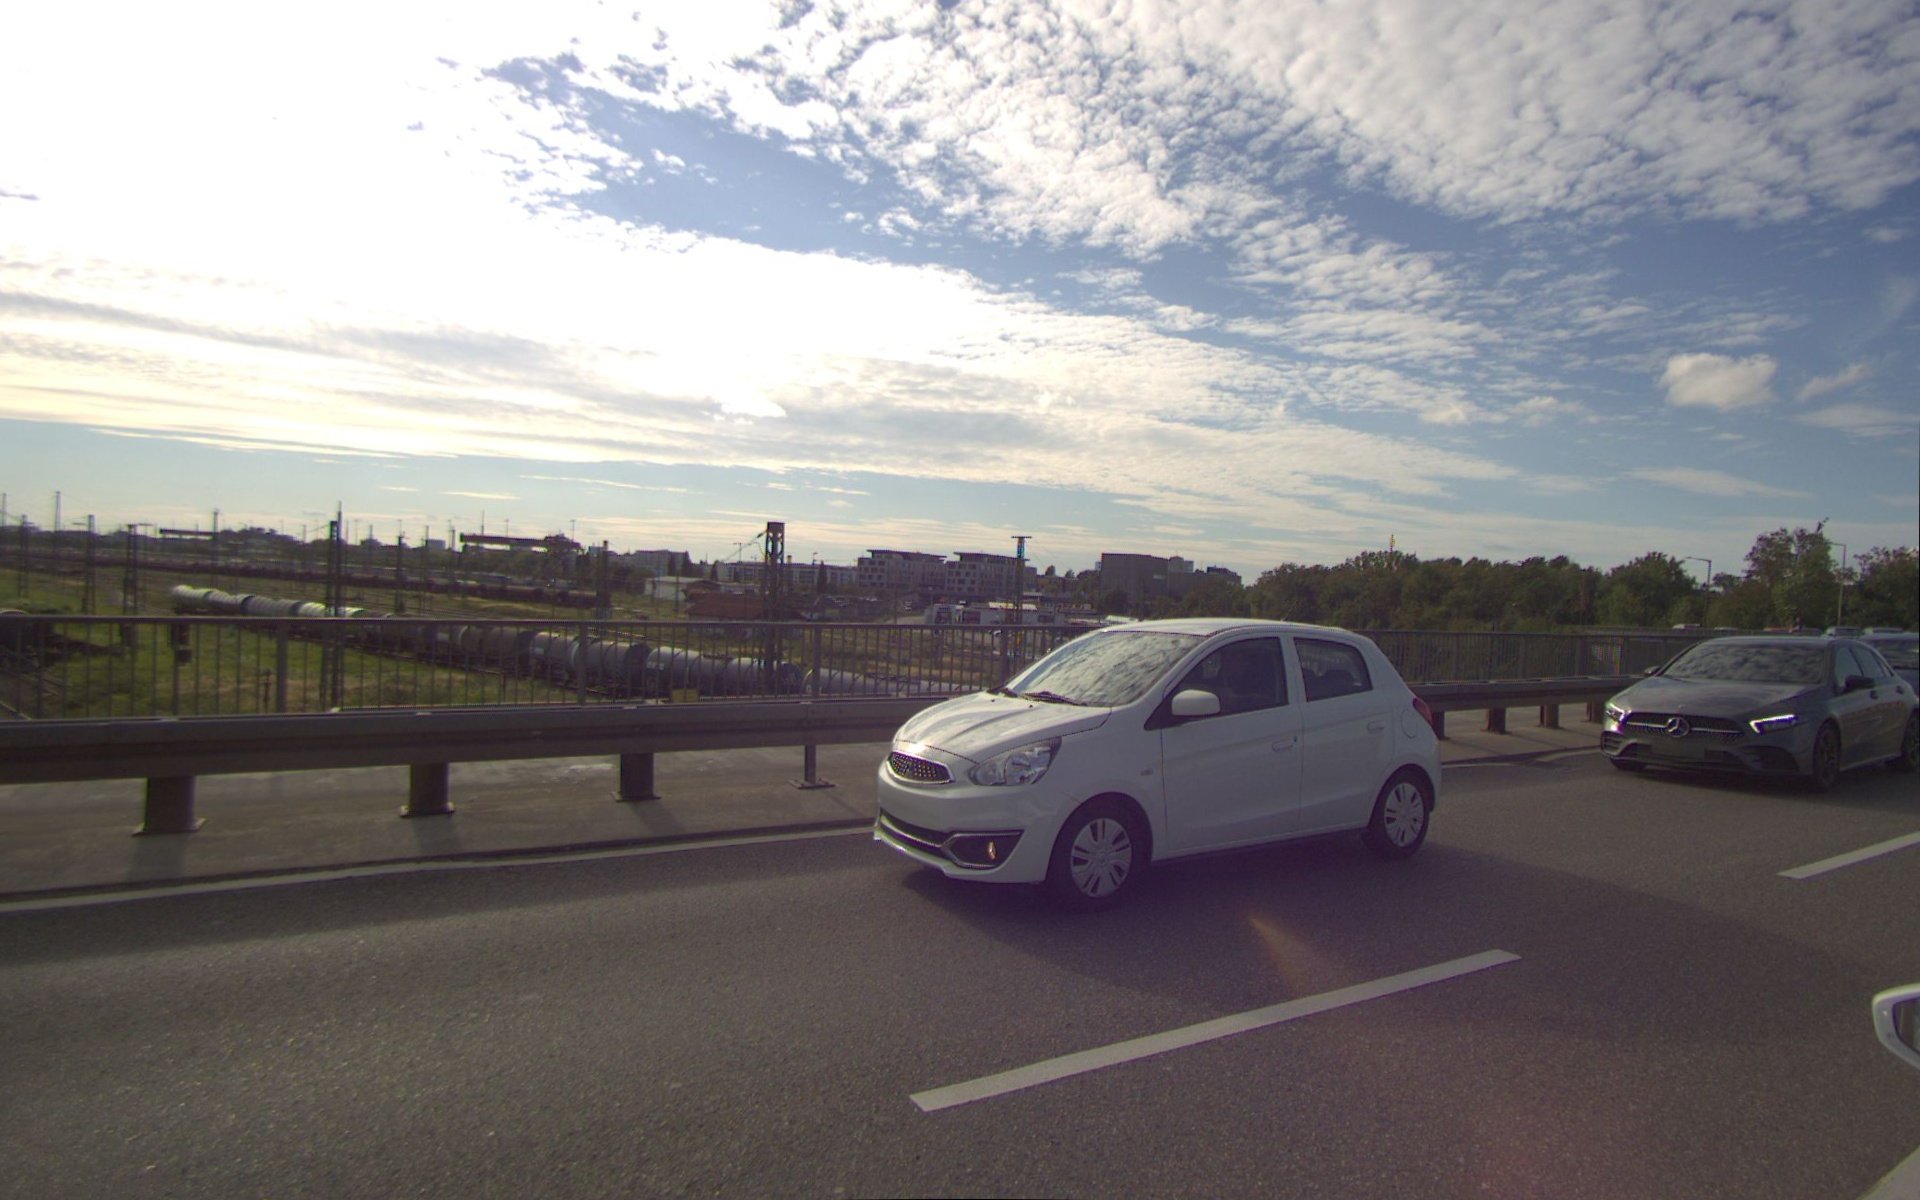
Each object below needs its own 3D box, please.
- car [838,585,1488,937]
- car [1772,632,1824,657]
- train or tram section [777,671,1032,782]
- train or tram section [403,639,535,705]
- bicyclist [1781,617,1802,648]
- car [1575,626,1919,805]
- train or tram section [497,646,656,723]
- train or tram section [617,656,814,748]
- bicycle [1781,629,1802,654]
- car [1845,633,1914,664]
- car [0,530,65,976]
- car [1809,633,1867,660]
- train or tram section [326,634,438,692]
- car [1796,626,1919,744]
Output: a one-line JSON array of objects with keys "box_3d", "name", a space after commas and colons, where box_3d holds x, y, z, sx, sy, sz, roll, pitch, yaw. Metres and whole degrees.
[{"box_3d": [1.370, 0.786, 6.240, 3.879, 1.565, 1.674, 2, -2, -32], "name": "car"}, {"box_3d": [56.560, 2.981, 67.883, 1.713, 1.521, 4.074, 1, -1, 25], "name": "car"}, {"box_3d": [-3.667, 6.968, 58.064, 16.479, 4.775, 3.086, 1, -1, 37], "name": "train or tram section"}, {"box_3d": [-43.188, 6.116, 87.796, 16.479, 4.775, 3.086, 1, -1, 37], "name": "train or tram section"}, {"box_3d": [45.640, 1.793, 55.154, 0.756, 1.682, 1.116, 1, -1, 36], "name": "bicyclist"}, {"box_3d": [8.461, 1.055, 10.534, 4.279, 1.476, 1.802, 1, 0, -34], "name": "car"}, {"box_3d": [-30.042, 6.312, 77.956, 16.479, 4.775, 3.086, 1, -1, 37], "name": "train or tram section"}, {"box_3d": [-16.889, 6.624, 68.005, 16.479, 4.775, 3.086, 1, -1, 37], "name": "train or tram section"}, {"box_3d": [45.584, 2.265, 55.091, 0.754, 1.349, 1.910, 1, -1, 36], "name": "bicycle"}, {"box_3d": [48.973, 2.568, 53.564, 1.714, 1.521, 4.072, 1, -1, 28], "name": "car"}, {"box_3d": [-5.513, 0.533, 2.465, 4.570, 1.688, 1.863, 1, -1, -27], "name": "car"}, {"box_3d": [52.638, 2.764, 60.296, 1.714, 1.521, 4.072, 1, -1, 28], "name": "car"}, {"box_3d": [-56.339, 5.939, 97.616, 16.479, 4.775, 3.086, 1, -1, 37], "name": "train or tram section"}, {"box_3d": [14.021, 1.173, 14.802, 4.352, 1.509, 1.746, 2, -1, -38], "name": "car"}]
